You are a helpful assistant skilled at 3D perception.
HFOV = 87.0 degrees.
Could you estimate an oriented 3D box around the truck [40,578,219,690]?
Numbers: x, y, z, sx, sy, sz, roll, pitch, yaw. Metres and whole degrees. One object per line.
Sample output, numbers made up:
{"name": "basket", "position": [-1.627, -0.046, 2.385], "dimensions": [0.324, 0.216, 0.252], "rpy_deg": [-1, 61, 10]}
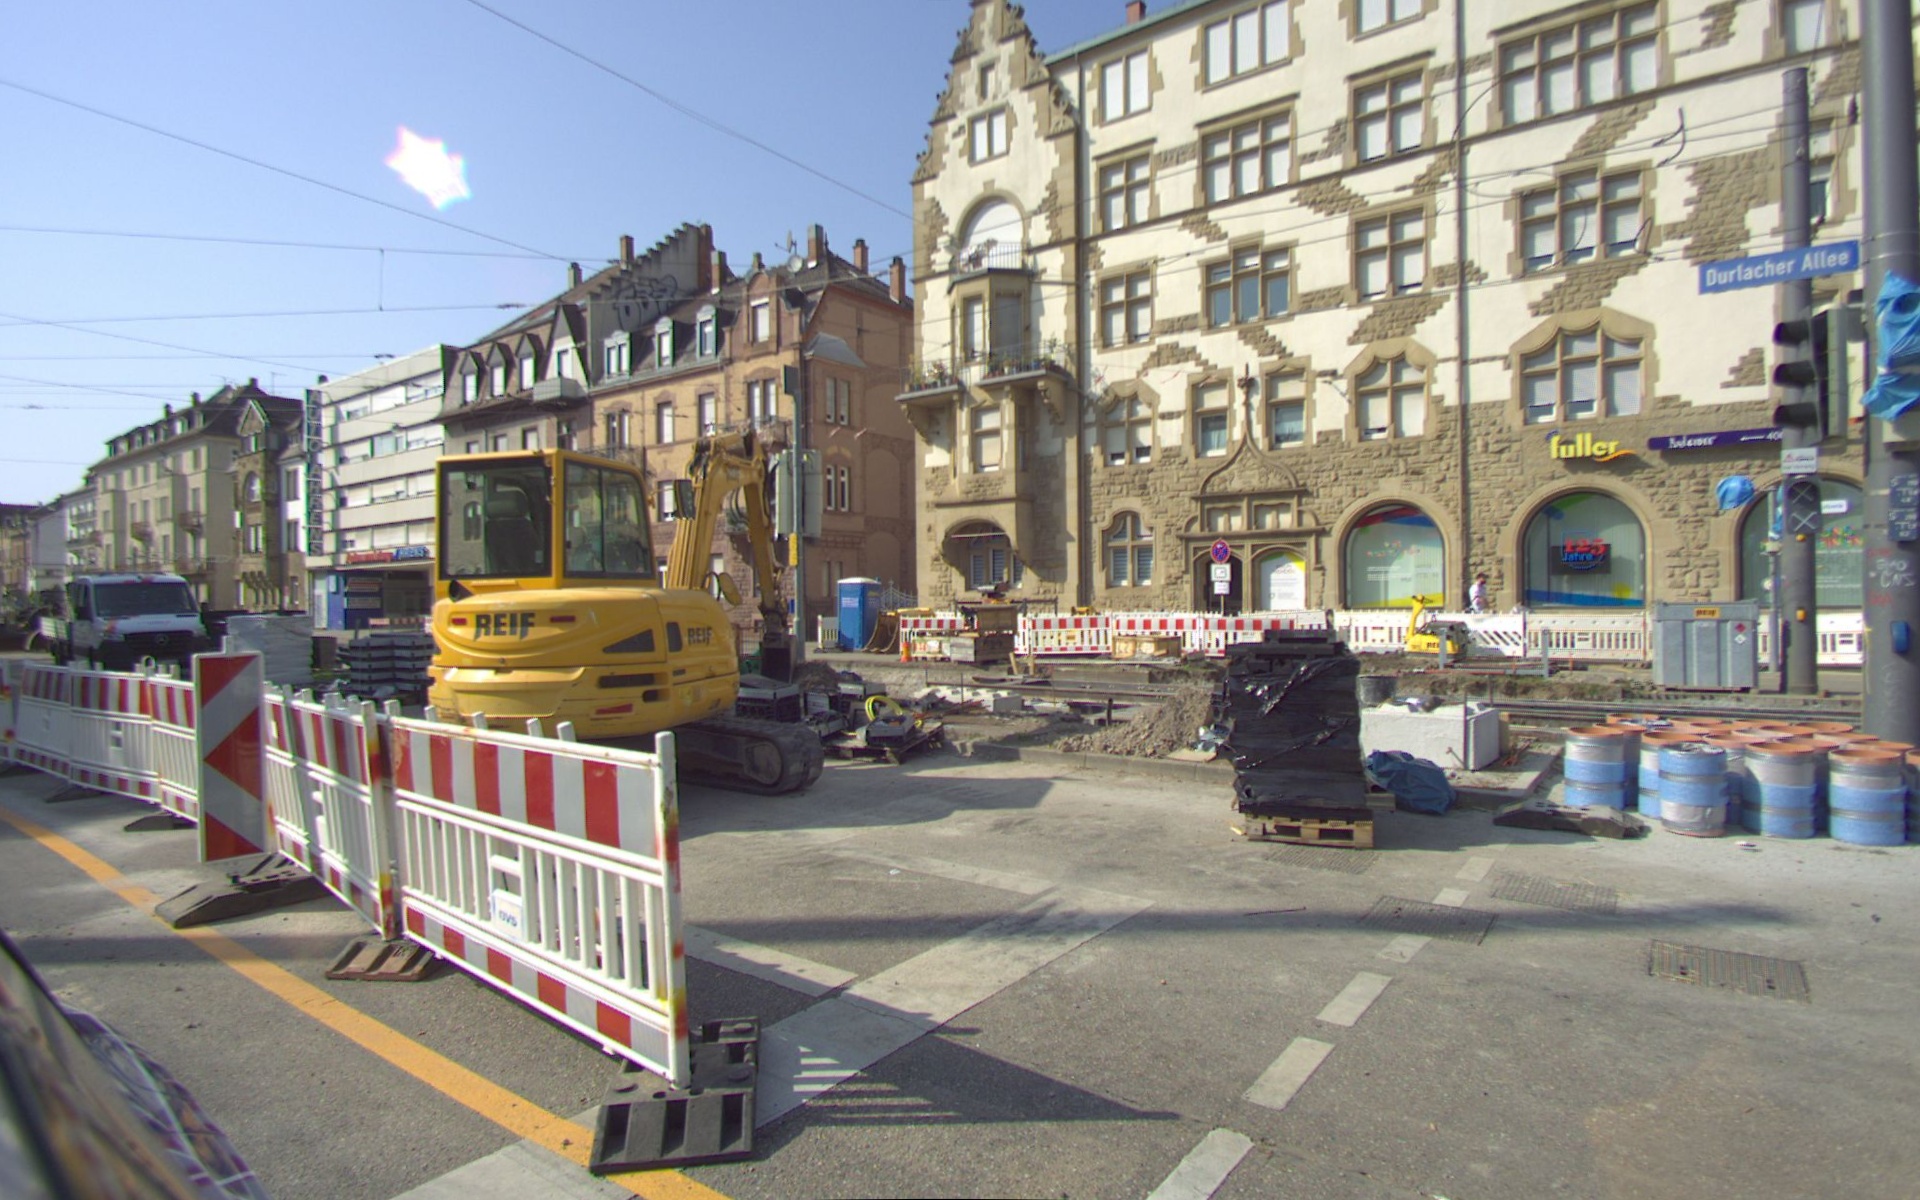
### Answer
{"name": "truck", "position": [-19.343, 0.728, 23.403], "dimensions": [7.048, 2.239, 2.135], "rpy_deg": [-1, -1, 42]}

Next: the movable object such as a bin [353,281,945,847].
{"name": "movable object such as a bin", "position": [-2.098, -0.218, 9.291], "dimensions": [2.099, 3.371, 6.128], "rpy_deg": [-1, 0, 17]}

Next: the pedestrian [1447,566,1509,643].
{"name": "pedestrian", "position": [12.109, 0.106, 23.652], "dimensions": [1.144, 1.754, 0.906], "rpy_deg": [-1, 0, 37]}
